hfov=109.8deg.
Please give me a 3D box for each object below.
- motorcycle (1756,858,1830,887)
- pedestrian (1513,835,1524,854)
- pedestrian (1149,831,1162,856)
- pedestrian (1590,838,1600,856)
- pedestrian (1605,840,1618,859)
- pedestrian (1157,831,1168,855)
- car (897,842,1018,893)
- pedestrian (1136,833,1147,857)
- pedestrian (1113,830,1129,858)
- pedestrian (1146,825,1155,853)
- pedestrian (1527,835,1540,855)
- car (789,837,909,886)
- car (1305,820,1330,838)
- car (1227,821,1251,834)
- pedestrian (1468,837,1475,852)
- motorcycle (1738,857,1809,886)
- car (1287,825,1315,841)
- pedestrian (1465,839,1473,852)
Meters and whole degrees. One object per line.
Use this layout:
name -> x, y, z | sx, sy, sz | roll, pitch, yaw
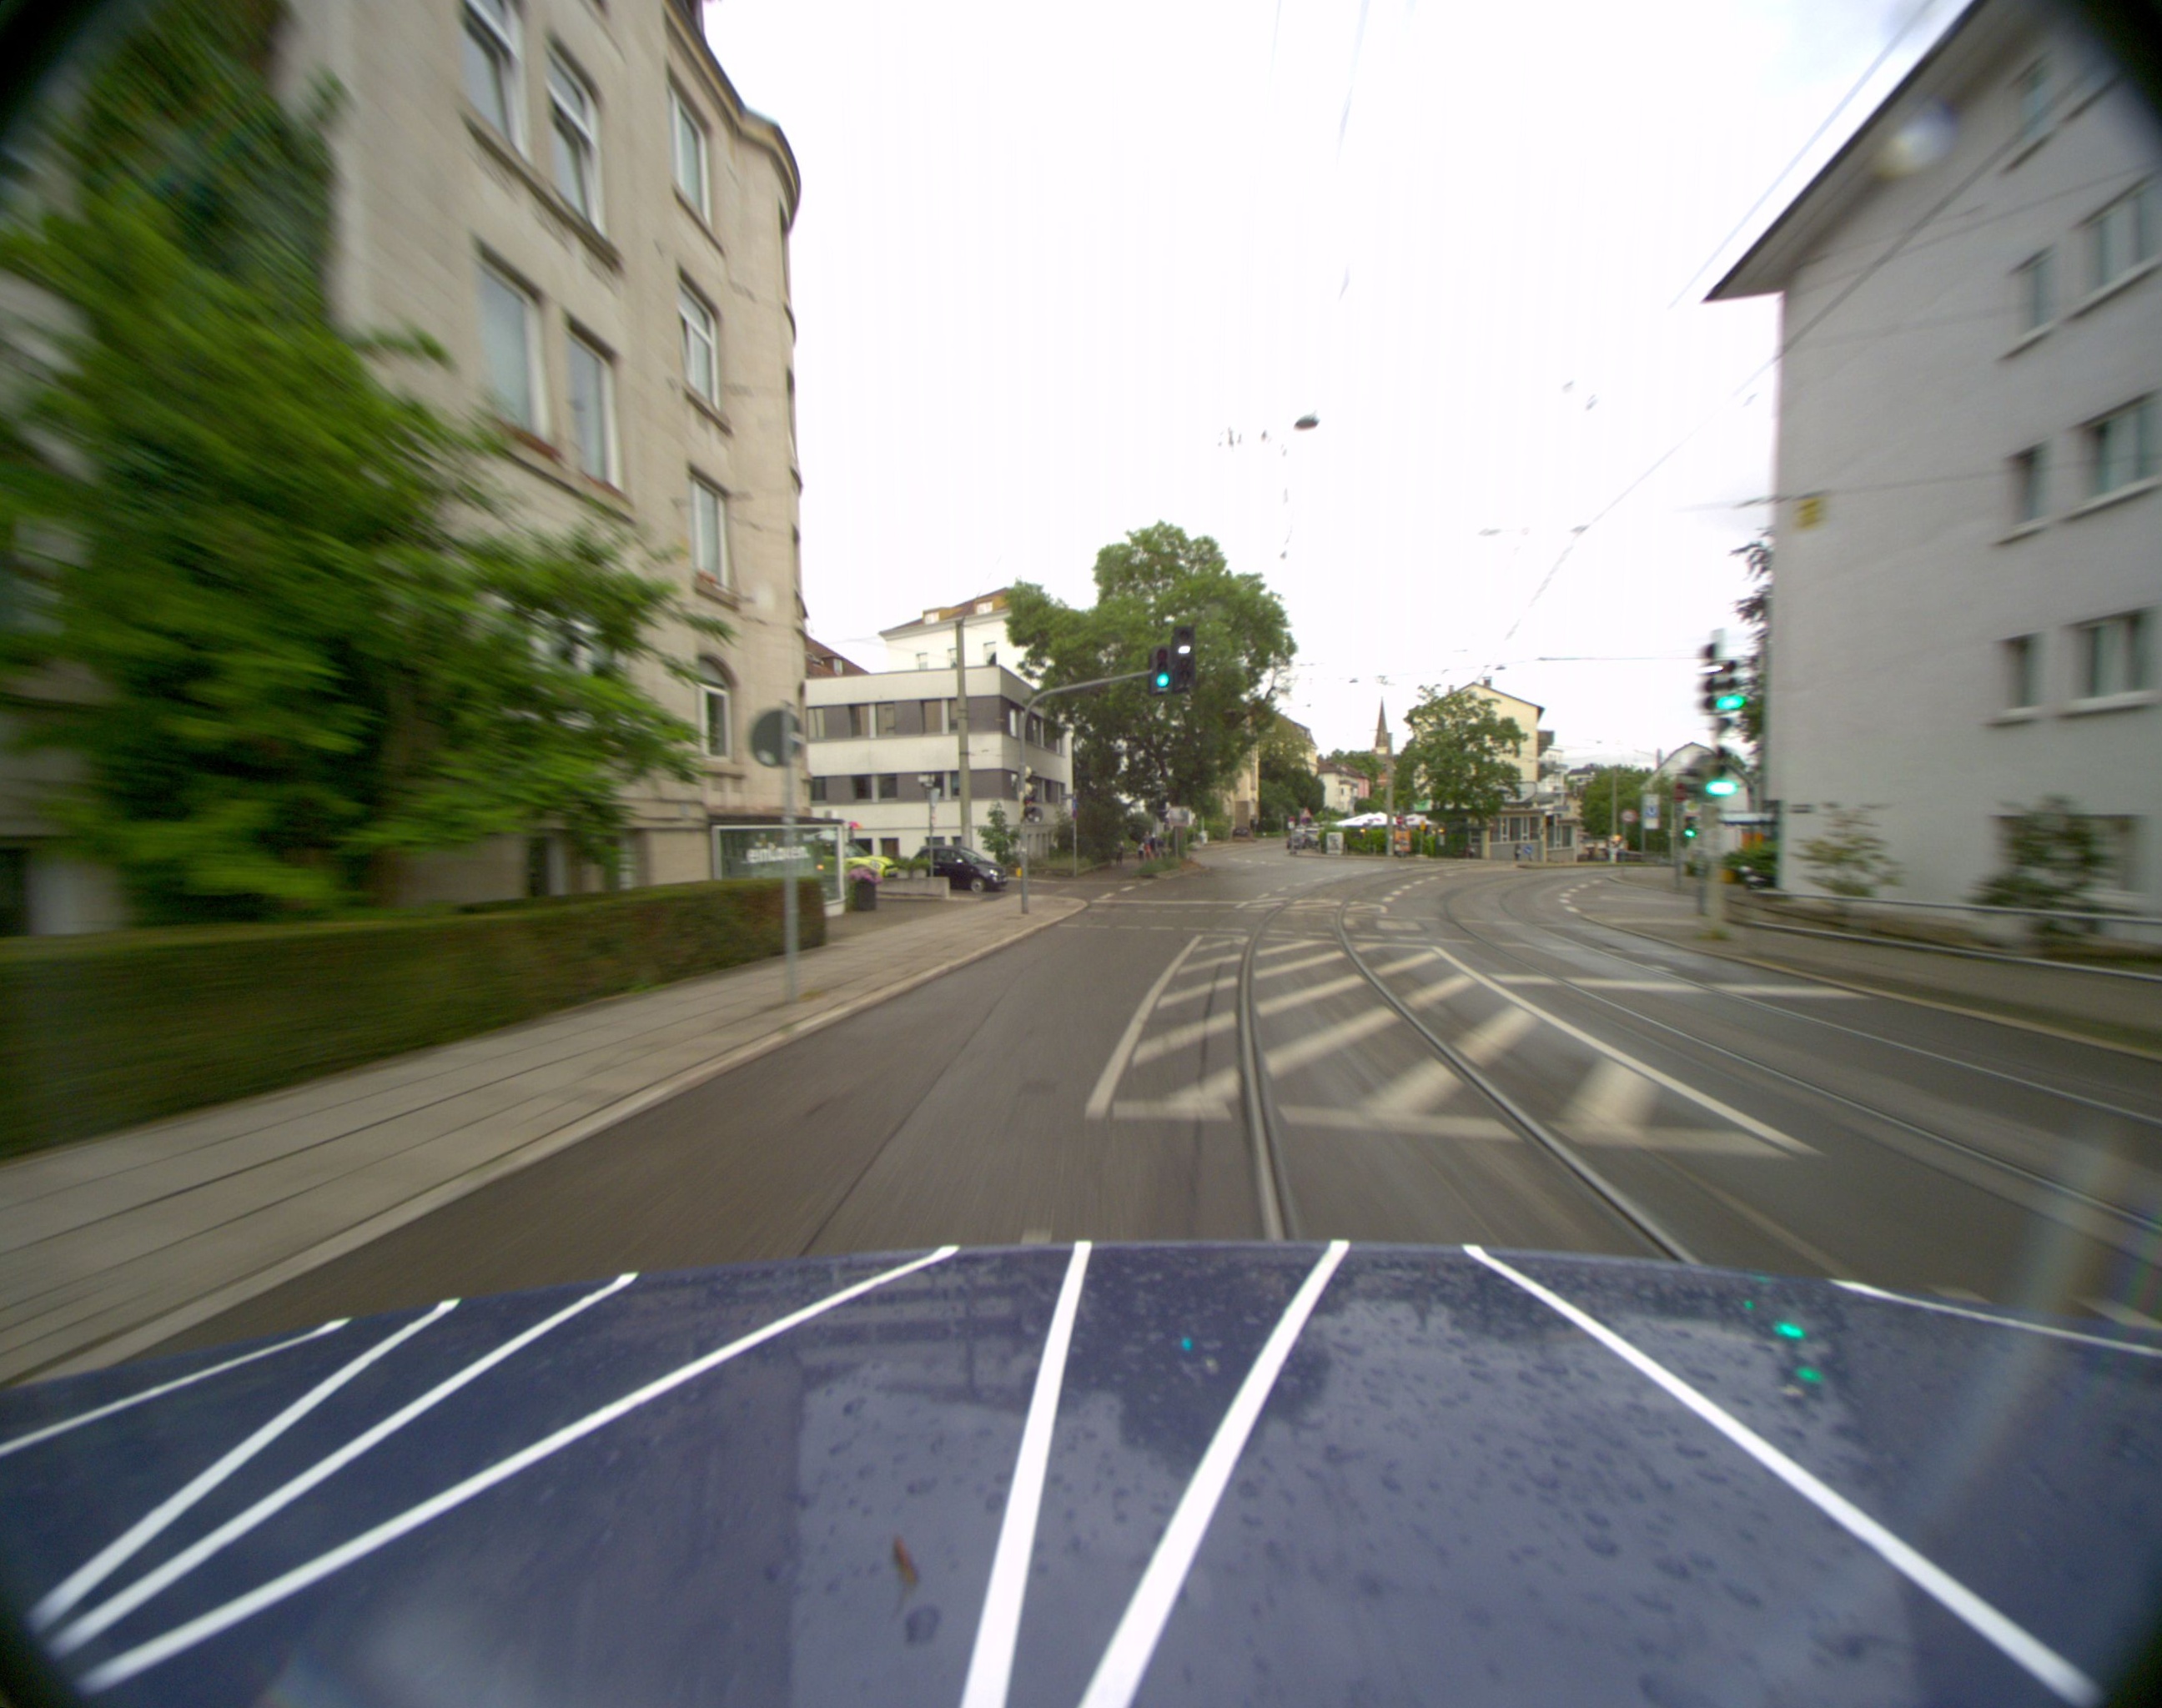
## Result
motorcycle -> 25.941, 0.663, 27.693 | 2.121, 1.042, 0.485 | 1, 0, 4
pedestrian -> 36.332, -0.827, 63.116 | 0.560, 1.545, 0.545 | 1, 3, -37
pedestrian -> 4.721, -0.660, 48.427 | 0.547, 1.556, 0.600 | 1, 0, -44
pedestrian -> 49.064, -0.630, 72.536 | 0.615, 1.703, 0.579 | 1, 0, -38
pedestrian -> 51.386, -0.436, 73.653 | 0.609, 1.704, 0.719 | 2, 3, -25
pedestrian -> 5.413, -0.727, 50.603 | 0.544, 1.620, 0.603 | 1, 0, 23
car -> -4.214, 0.417, 26.091 | 3.663, 1.500, 1.739 | 3, 3, 14
pedestrian -> 3.832, -0.590, 48.235 | 0.386, 1.498, 0.537 | -2, 4, -41
pedestrian -> 2.457, -0.611, 46.586 | 0.743, 1.690, 0.674 | 4, 1, 17
pedestrian -> 4.870, -1.041, 53.153 | 0.542, 1.913, 0.917 | 1, 3, 10
pedestrian -> 37.145, -0.737, 62.323 | 0.651, 1.545, 0.588 | 1, 3, -35
car -> -8.176, 0.235, 26.899 | 3.663, 1.500, 1.739 | 3, 3, 14
car -> 23.450, -2.477, 75.334 | 1.689, 1.680, 3.810 | 2, 3, 28
car -> 18.205, -3.031, 87.222 | 1.596, 1.333, 3.642 | 0, -1, 30
pedestrian -> 30.520, -0.738, 59.407 | 0.318, 1.144, 0.325 | 1, 4, -38
motorcycle -> 25.967, 0.664, 28.497 | 2.121, 1.043, 0.485 | 1, 1, 4
car -> 20.056, -1.919, 69.129 | 1.689, 1.434, 3.810 | 2, 3, 28
pedestrian -> 30.243, -0.676, 59.204 | 0.318, 0.990, 0.325 | 1, 4, -38
